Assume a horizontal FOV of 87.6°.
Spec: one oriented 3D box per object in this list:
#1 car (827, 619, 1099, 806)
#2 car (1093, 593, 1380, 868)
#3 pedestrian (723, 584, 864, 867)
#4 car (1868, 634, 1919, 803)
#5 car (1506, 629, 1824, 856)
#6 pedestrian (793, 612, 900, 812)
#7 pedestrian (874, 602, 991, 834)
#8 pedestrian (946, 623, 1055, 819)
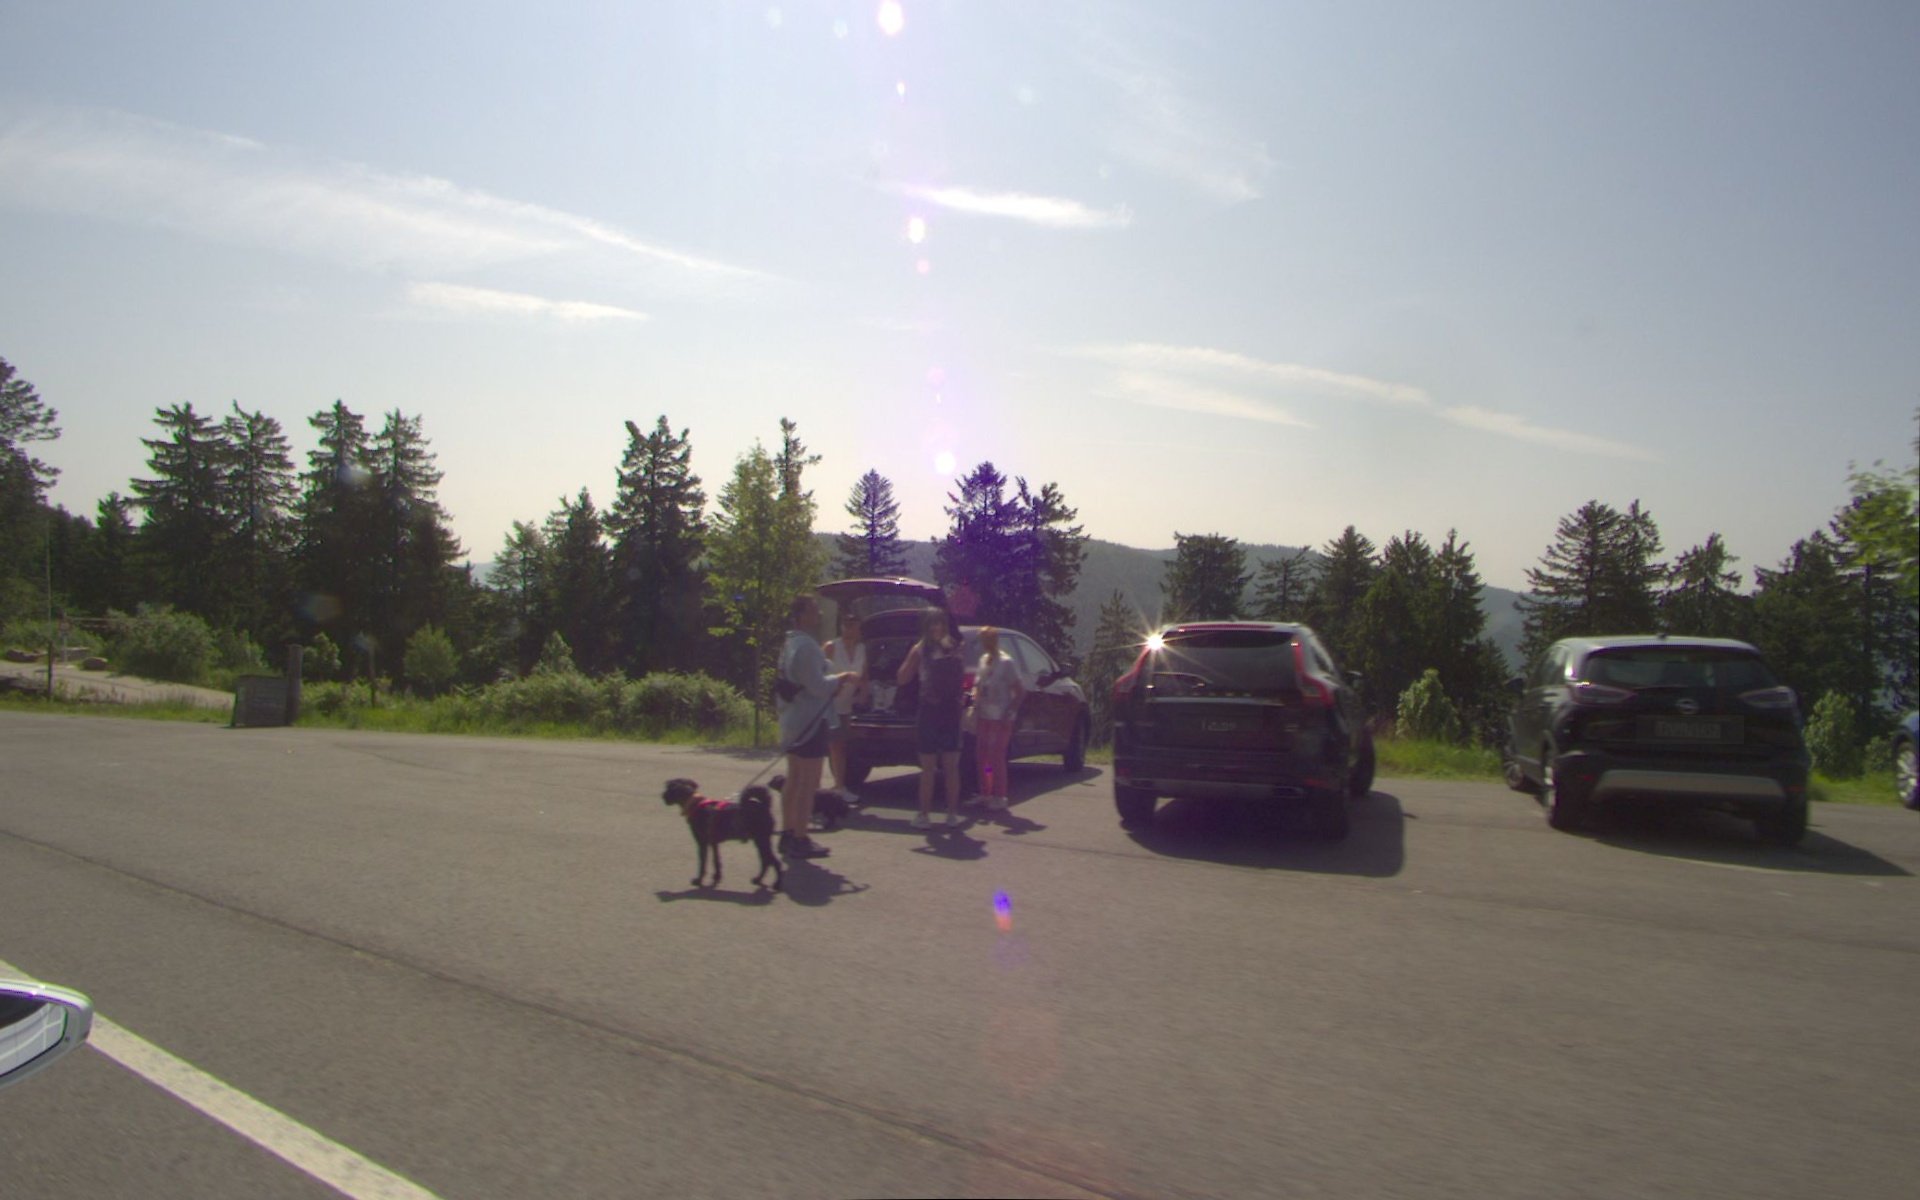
[{"bbox_3d":[0.229,1.131,11.171,1.625,1.681,3.821,0,-3,24],"label":"car"},{"bbox_3d":[2.764,0.951,9.197,1.860,1.817,4.266,3,0,24],"label":"car"},{"bbox_3d":[-1.130,0.806,6.822,0.714,1.798,0.615,0,-1,36],"label":"pedestrian"},{"bbox_3d":[9.356,1.122,8.088,1.777,1.556,3.989,4,0,25],"label":"car"},{"bbox_3d":[6.088,1.069,9.108,1.573,1.587,3.755,0,-1,23],"label":"car"},{"bbox_3d":[-1.019,0.962,8.988,0.679,1.683,0.649,2,2,42],"label":"pedestrian"},{"bbox_3d":[-0.211,0.886,7.889,0.610,1.714,0.714,0,-1,35],"label":"pedestrian"},{"bbox_3d":[0.353,1.025,8.846,0.612,1.609,0.728,0,2,-42],"label":"pedestrian"}]
